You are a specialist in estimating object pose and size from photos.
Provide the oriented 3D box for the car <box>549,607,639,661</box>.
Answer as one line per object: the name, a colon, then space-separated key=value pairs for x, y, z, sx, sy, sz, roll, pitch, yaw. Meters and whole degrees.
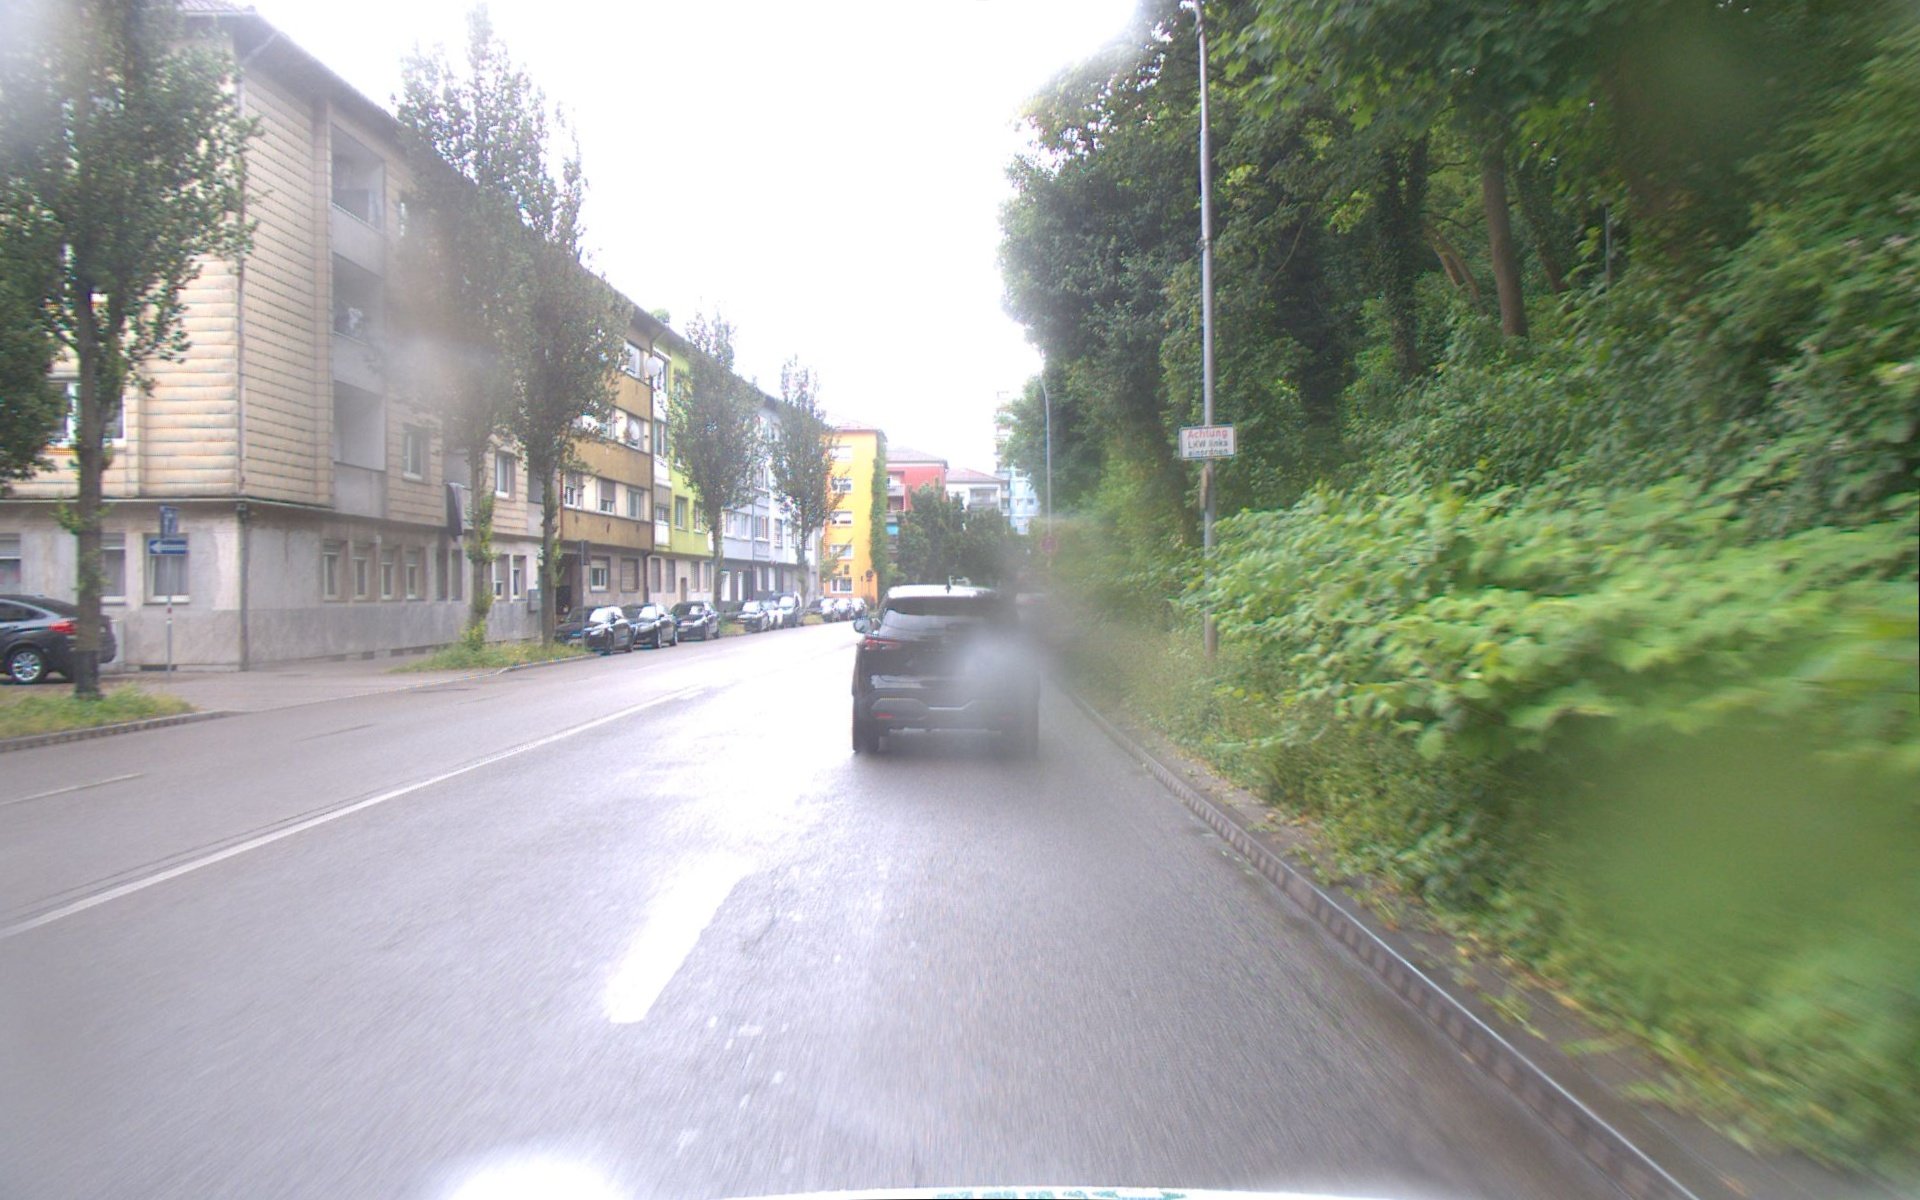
car: x=-10.647 y=0.959 z=48.367 sx=1.592 sy=1.411 sz=3.989 roll=-1 pitch=0 yaw=2

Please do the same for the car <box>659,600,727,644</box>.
car: x=-10.239 y=0.828 z=63.682 sx=1.682 sy=1.514 sz=4.516 roll=-2 pitch=0 yaw=2

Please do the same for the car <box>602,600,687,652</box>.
car: x=-10.391 y=0.834 z=54.797 sx=1.780 sy=1.514 sz=4.790 roll=-2 pitch=0 yaw=1

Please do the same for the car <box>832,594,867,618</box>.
car: x=-7.388 y=0.401 z=110.898 sx=1.676 sy=1.450 sz=4.325 roll=-3 pitch=0 yaw=5

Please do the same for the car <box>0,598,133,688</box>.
car: x=-18.226 y=0.811 z=31.394 sx=4.063 sy=1.606 sz=1.927 roll=-1 pitch=1 yaw=1

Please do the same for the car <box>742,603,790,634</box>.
car: x=-9.505 y=0.890 z=81.198 sx=1.645 sy=1.400 sz=4.002 roll=-3 pitch=0 yaw=3

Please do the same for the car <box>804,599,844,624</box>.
car: x=-8.187 y=0.677 z=99.672 sx=1.653 sy=1.381 sz=4.581 roll=-4 pitch=0 yaw=4

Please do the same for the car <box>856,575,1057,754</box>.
car: x=-0.047 y=0.567 z=17.014 sx=1.807 sy=1.610 sz=4.000 roll=1 pitch=1 yaw=-1

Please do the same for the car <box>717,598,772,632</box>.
car: x=-9.789 y=0.668 z=75.456 sx=1.780 sy=1.396 sz=4.681 roll=-2 pitch=0 yaw=1

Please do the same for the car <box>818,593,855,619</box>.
car: x=-7.841 y=0.360 z=105.139 sx=1.645 sy=1.474 sz=4.278 roll=-3 pitch=0 yaw=4

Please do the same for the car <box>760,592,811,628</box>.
car: x=-9.109 y=0.514 z=86.718 sx=1.851 sy=1.797 sz=4.603 roll=-2 pitch=0 yaw=4

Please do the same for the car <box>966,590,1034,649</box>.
car: x=1.274 y=0.573 z=51.234 sx=1.847 sy=1.741 sz=4.002 roll=0 pitch=0 yaw=5

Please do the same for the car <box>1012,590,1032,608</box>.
car: x=5.465 y=-0.120 z=146.069 sx=1.671 sy=1.504 sz=3.682 roll=-1 pitch=0 yaw=3
